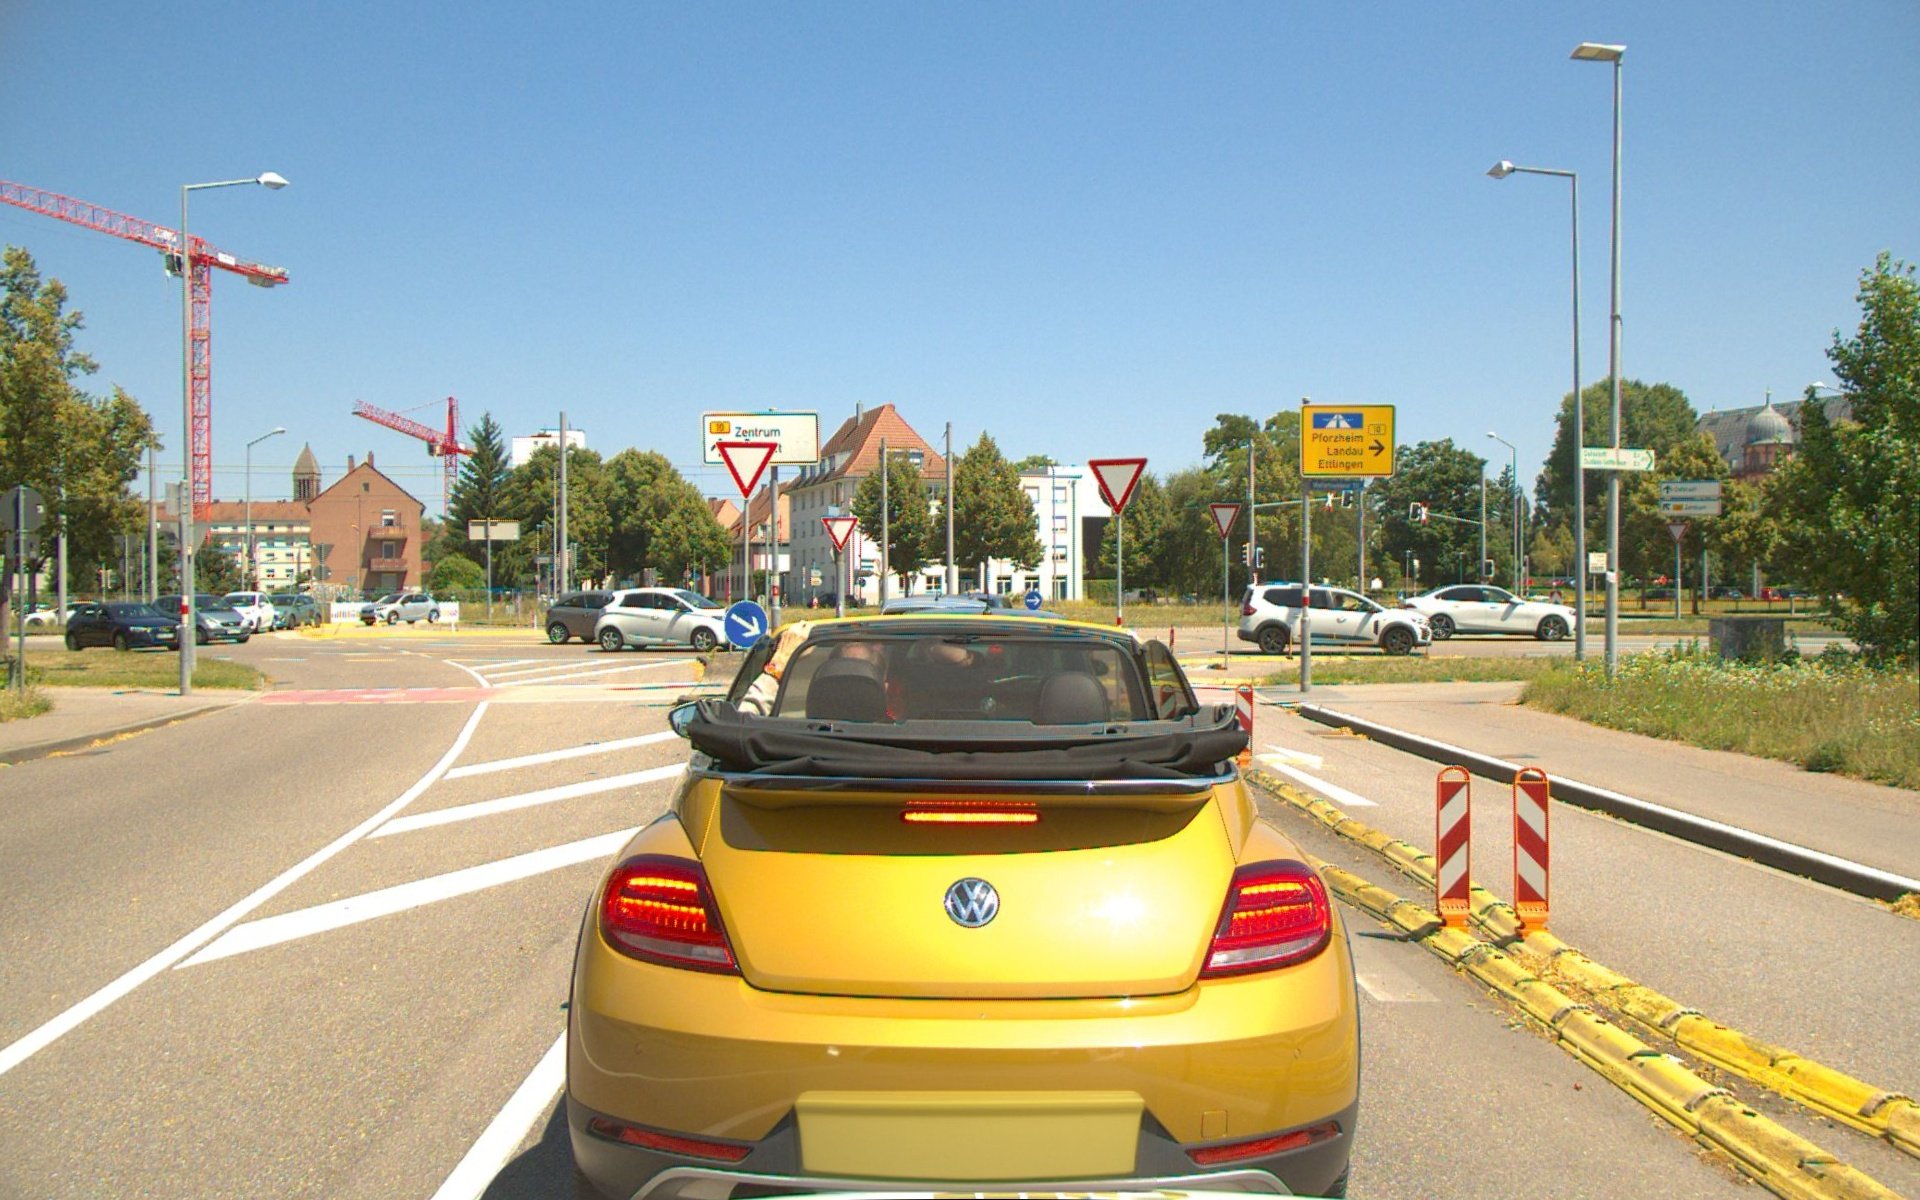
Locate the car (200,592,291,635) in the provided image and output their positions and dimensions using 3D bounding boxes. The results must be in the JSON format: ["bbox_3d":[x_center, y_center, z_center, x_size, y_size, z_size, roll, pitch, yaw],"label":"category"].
[{"bbox_3d":[-27.016,0.503,62.672,1.720,1.576,3.999,0,0,-1],"label":"car"}]

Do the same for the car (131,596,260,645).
[{"bbox_3d":[-24.781,0.648,53.612,3.910,1.522,1.798,0,0,28],"label":"car"}]

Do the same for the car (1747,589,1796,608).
[{"bbox_3d":[76.437,-0.138,155.794,3.926,1.744,1.989,0,0,-19],"label":"car"}]

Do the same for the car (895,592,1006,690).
[{"bbox_3d":[-0.178,0.633,27.476,1.701,1.503,3.999,0,0,-1],"label":"car"}]

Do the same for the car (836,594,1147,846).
[{"bbox_3d":[0.162,0.701,11.666,1.810,1.467,3.999,0,0,-1],"label":"car"}]

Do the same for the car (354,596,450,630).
[{"bbox_3d":[-26.211,0.600,77.845,1.676,1.526,4.210,0,0,32],"label":"car"}]

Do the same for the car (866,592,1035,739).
[{"bbox_3d":[-0.122,0.659,18.676,1.701,1.467,3.999,0,0,-1],"label":"car"}]

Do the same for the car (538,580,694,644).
[{"bbox_3d":[-9.632,0.338,46.426,3.902,1.522,1.649,-4,-1,14],"label":"car"}]

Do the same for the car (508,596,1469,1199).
[{"bbox_3d":[0.025,0.720,4.851,1.717,1.447,3.776,0,0,-1],"label":"car"}]

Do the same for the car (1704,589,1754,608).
[{"bbox_3d":[71.268,-0.169,153.277,3.923,1.744,1.991,0,0,-17],"label":"car"}]

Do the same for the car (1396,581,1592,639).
[{"bbox_3d":[14.676,0.264,45.708,4.884,1.536,2.002,0,0,8],"label":"car"}]

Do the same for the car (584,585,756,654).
[{"bbox_3d":[-7.263,0.471,41.537,3.913,1.648,1.682,0,0,9],"label":"car"}]

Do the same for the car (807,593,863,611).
[{"bbox_3d":[-8.735,0.151,115.374,3.712,1.258,1.705,0,0,37],"label":"car"}]

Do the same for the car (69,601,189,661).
[{"bbox_3d":[-24.269,0.875,48.253,3.937,1.648,1.728,0,0,40],"label":"car"}]

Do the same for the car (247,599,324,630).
[{"bbox_3d":[-27.740,0.576,68.142,1.672,1.258,3.786,0,0,-1],"label":"car"}]

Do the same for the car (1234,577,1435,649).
[{"bbox_3d":[8.746,0.282,38.714,4.477,1.593,2.002,0,0,14],"label":"car"}]
